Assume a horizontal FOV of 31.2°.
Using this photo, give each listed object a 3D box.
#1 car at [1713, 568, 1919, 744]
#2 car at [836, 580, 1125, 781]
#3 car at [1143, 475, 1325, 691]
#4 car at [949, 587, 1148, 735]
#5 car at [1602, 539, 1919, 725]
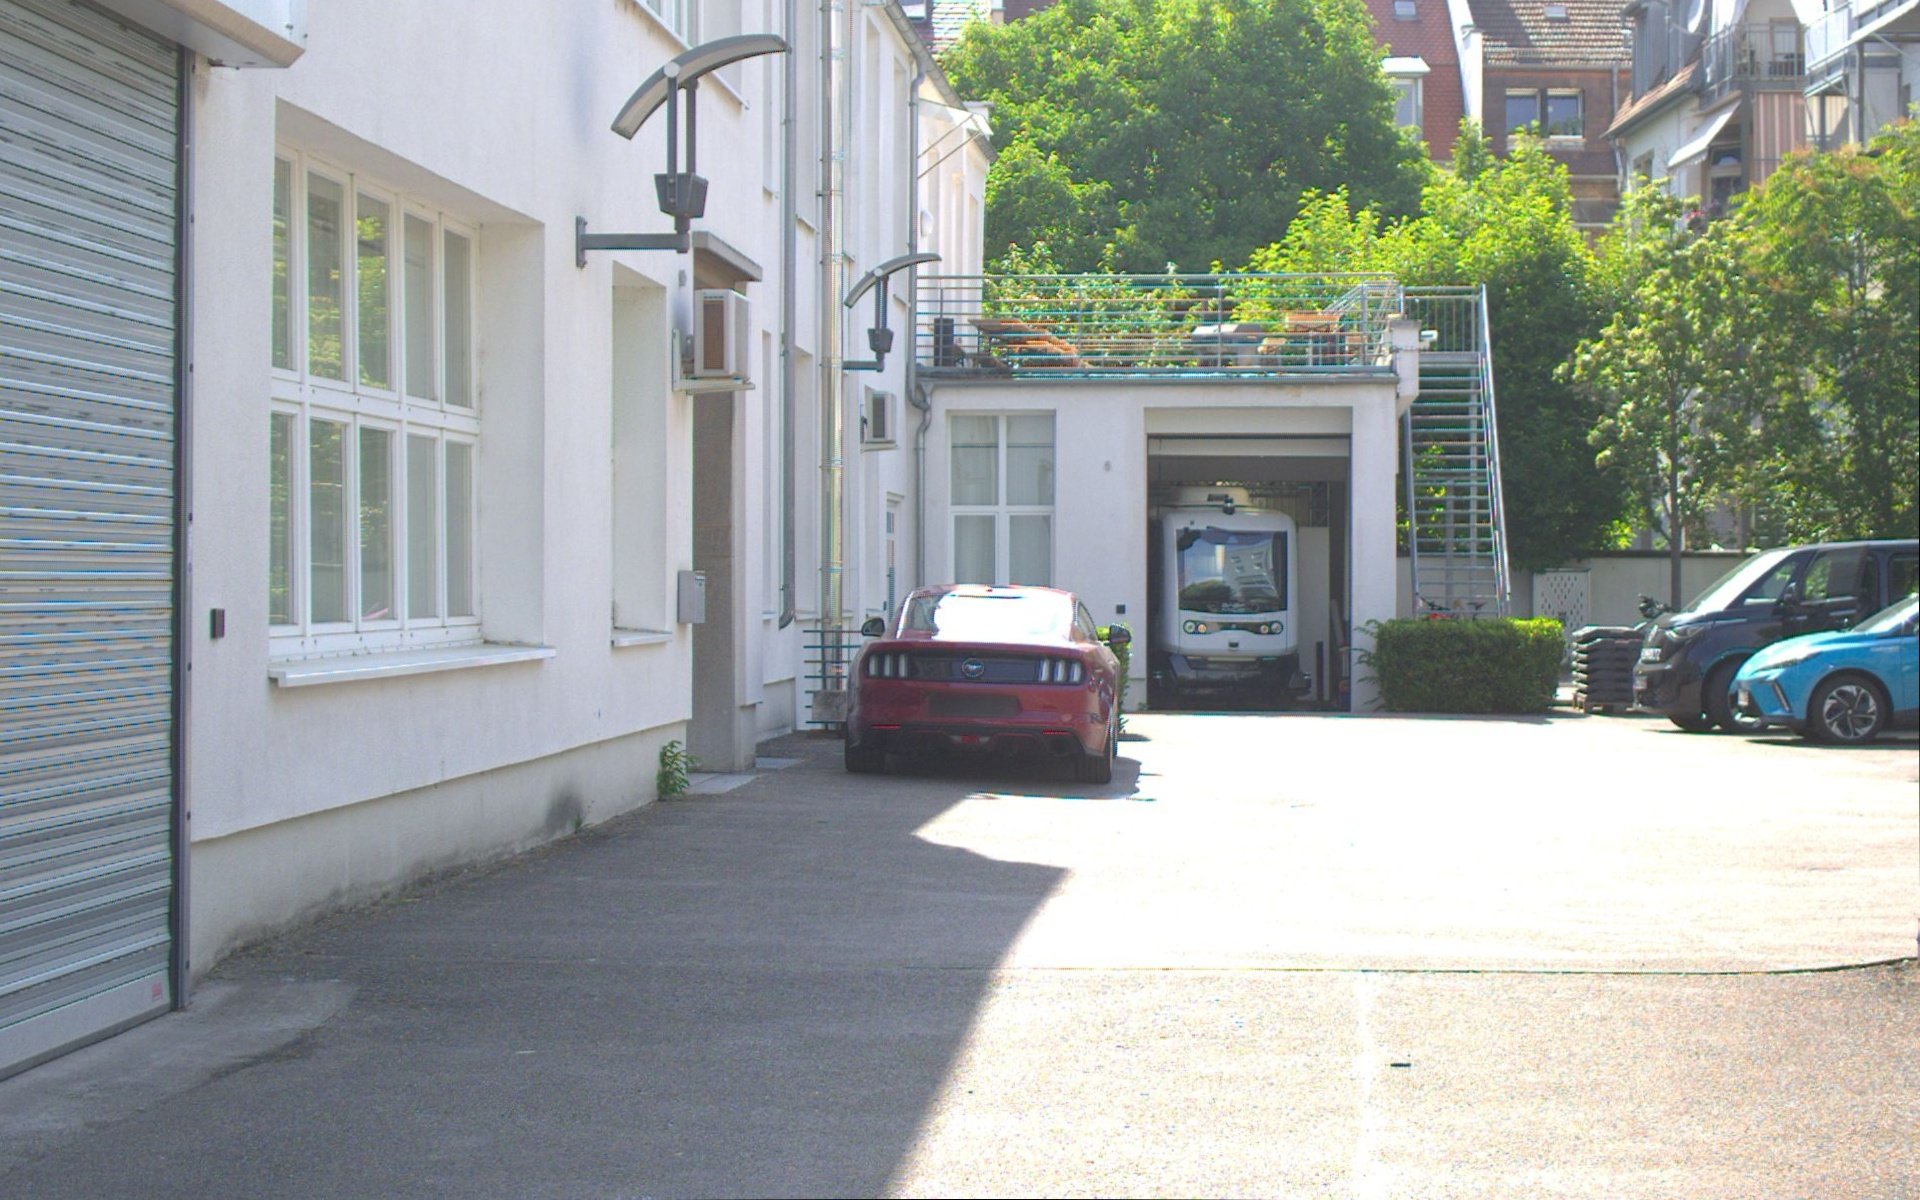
[{"bbox_3d":[9.282,0.474,31.753,4.229,1.527,2.000,-1,1,2],"label":"car"},{"bbox_3d":[0.232,0.538,25.587,1.852,1.315,3.999,2,1,4],"label":"car"},{"bbox_3d":[3.641,-0.199,45.169,2.174,2.598,6.733,-1,0,5],"label":"car"},{"bbox_3d":[0.886,0.534,32.399,1.614,1.291,3.758,-1,0,5],"label":"car"},{"bbox_3d":[9.276,0.276,35.019,4.950,1.761,2.097,-1,1,-7],"label":"car"}]
